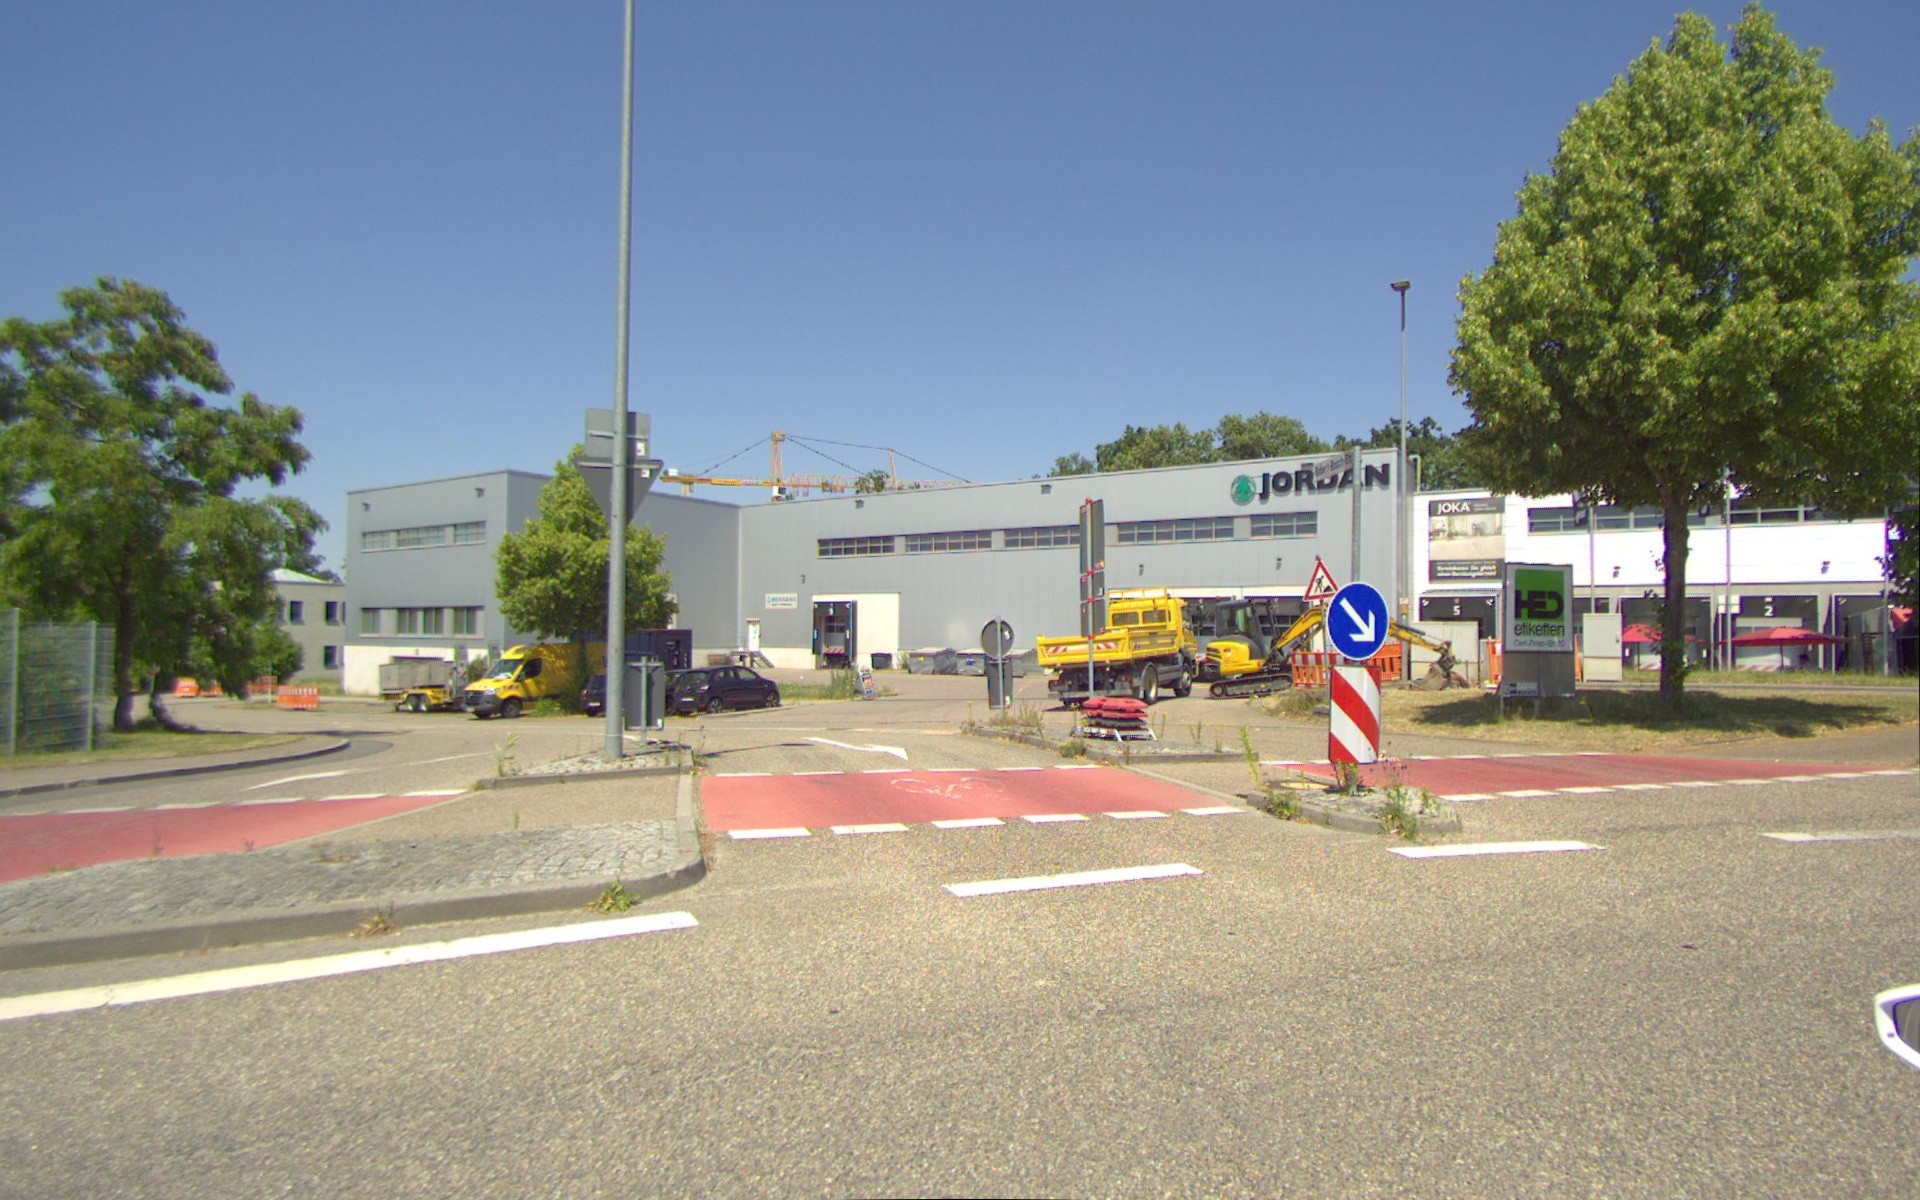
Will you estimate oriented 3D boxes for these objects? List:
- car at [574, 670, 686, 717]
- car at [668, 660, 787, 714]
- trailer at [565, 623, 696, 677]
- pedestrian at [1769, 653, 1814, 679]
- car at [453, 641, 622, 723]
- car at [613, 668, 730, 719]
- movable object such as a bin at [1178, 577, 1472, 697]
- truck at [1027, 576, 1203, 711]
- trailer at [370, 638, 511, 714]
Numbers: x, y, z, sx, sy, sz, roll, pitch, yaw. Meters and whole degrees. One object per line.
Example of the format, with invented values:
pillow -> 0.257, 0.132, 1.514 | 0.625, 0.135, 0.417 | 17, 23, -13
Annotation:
car -> -11.560, 3.254, 35.396 | 1.600, 1.497, 3.607 | -3, -4, 31
car -> -7.500, 2.791, 32.664 | 1.600, 1.481, 3.662 | -3, -2, 33
trailer -> -17.503, 2.632, 53.148 | 7.291, 2.452, 2.660 | 1, -2, 35
pedestrian -> 22.787, 1.805, 27.531 | 0.403, 0.704, 0.859 | 1, -3, -33
car -> -15.644, 2.948, 37.563 | 1.965, 2.768, 5.786 | -2, -2, 31
car -> -9.645, 3.096, 33.841 | 1.563, 1.526, 3.775 | -3, -4, 30
movable object such as a bin -> 8.839, 1.034, 24.834 | 6.477, 2.614, 1.992 | -4, -5, 38
truck -> 4.394, 1.106, 27.221 | 2.549, 3.177, 6.413 | -4, -2, 29
trailer -> -21.637, 3.124, 41.769 | 5.421, 2.895, 2.660 | -3, -2, 29
